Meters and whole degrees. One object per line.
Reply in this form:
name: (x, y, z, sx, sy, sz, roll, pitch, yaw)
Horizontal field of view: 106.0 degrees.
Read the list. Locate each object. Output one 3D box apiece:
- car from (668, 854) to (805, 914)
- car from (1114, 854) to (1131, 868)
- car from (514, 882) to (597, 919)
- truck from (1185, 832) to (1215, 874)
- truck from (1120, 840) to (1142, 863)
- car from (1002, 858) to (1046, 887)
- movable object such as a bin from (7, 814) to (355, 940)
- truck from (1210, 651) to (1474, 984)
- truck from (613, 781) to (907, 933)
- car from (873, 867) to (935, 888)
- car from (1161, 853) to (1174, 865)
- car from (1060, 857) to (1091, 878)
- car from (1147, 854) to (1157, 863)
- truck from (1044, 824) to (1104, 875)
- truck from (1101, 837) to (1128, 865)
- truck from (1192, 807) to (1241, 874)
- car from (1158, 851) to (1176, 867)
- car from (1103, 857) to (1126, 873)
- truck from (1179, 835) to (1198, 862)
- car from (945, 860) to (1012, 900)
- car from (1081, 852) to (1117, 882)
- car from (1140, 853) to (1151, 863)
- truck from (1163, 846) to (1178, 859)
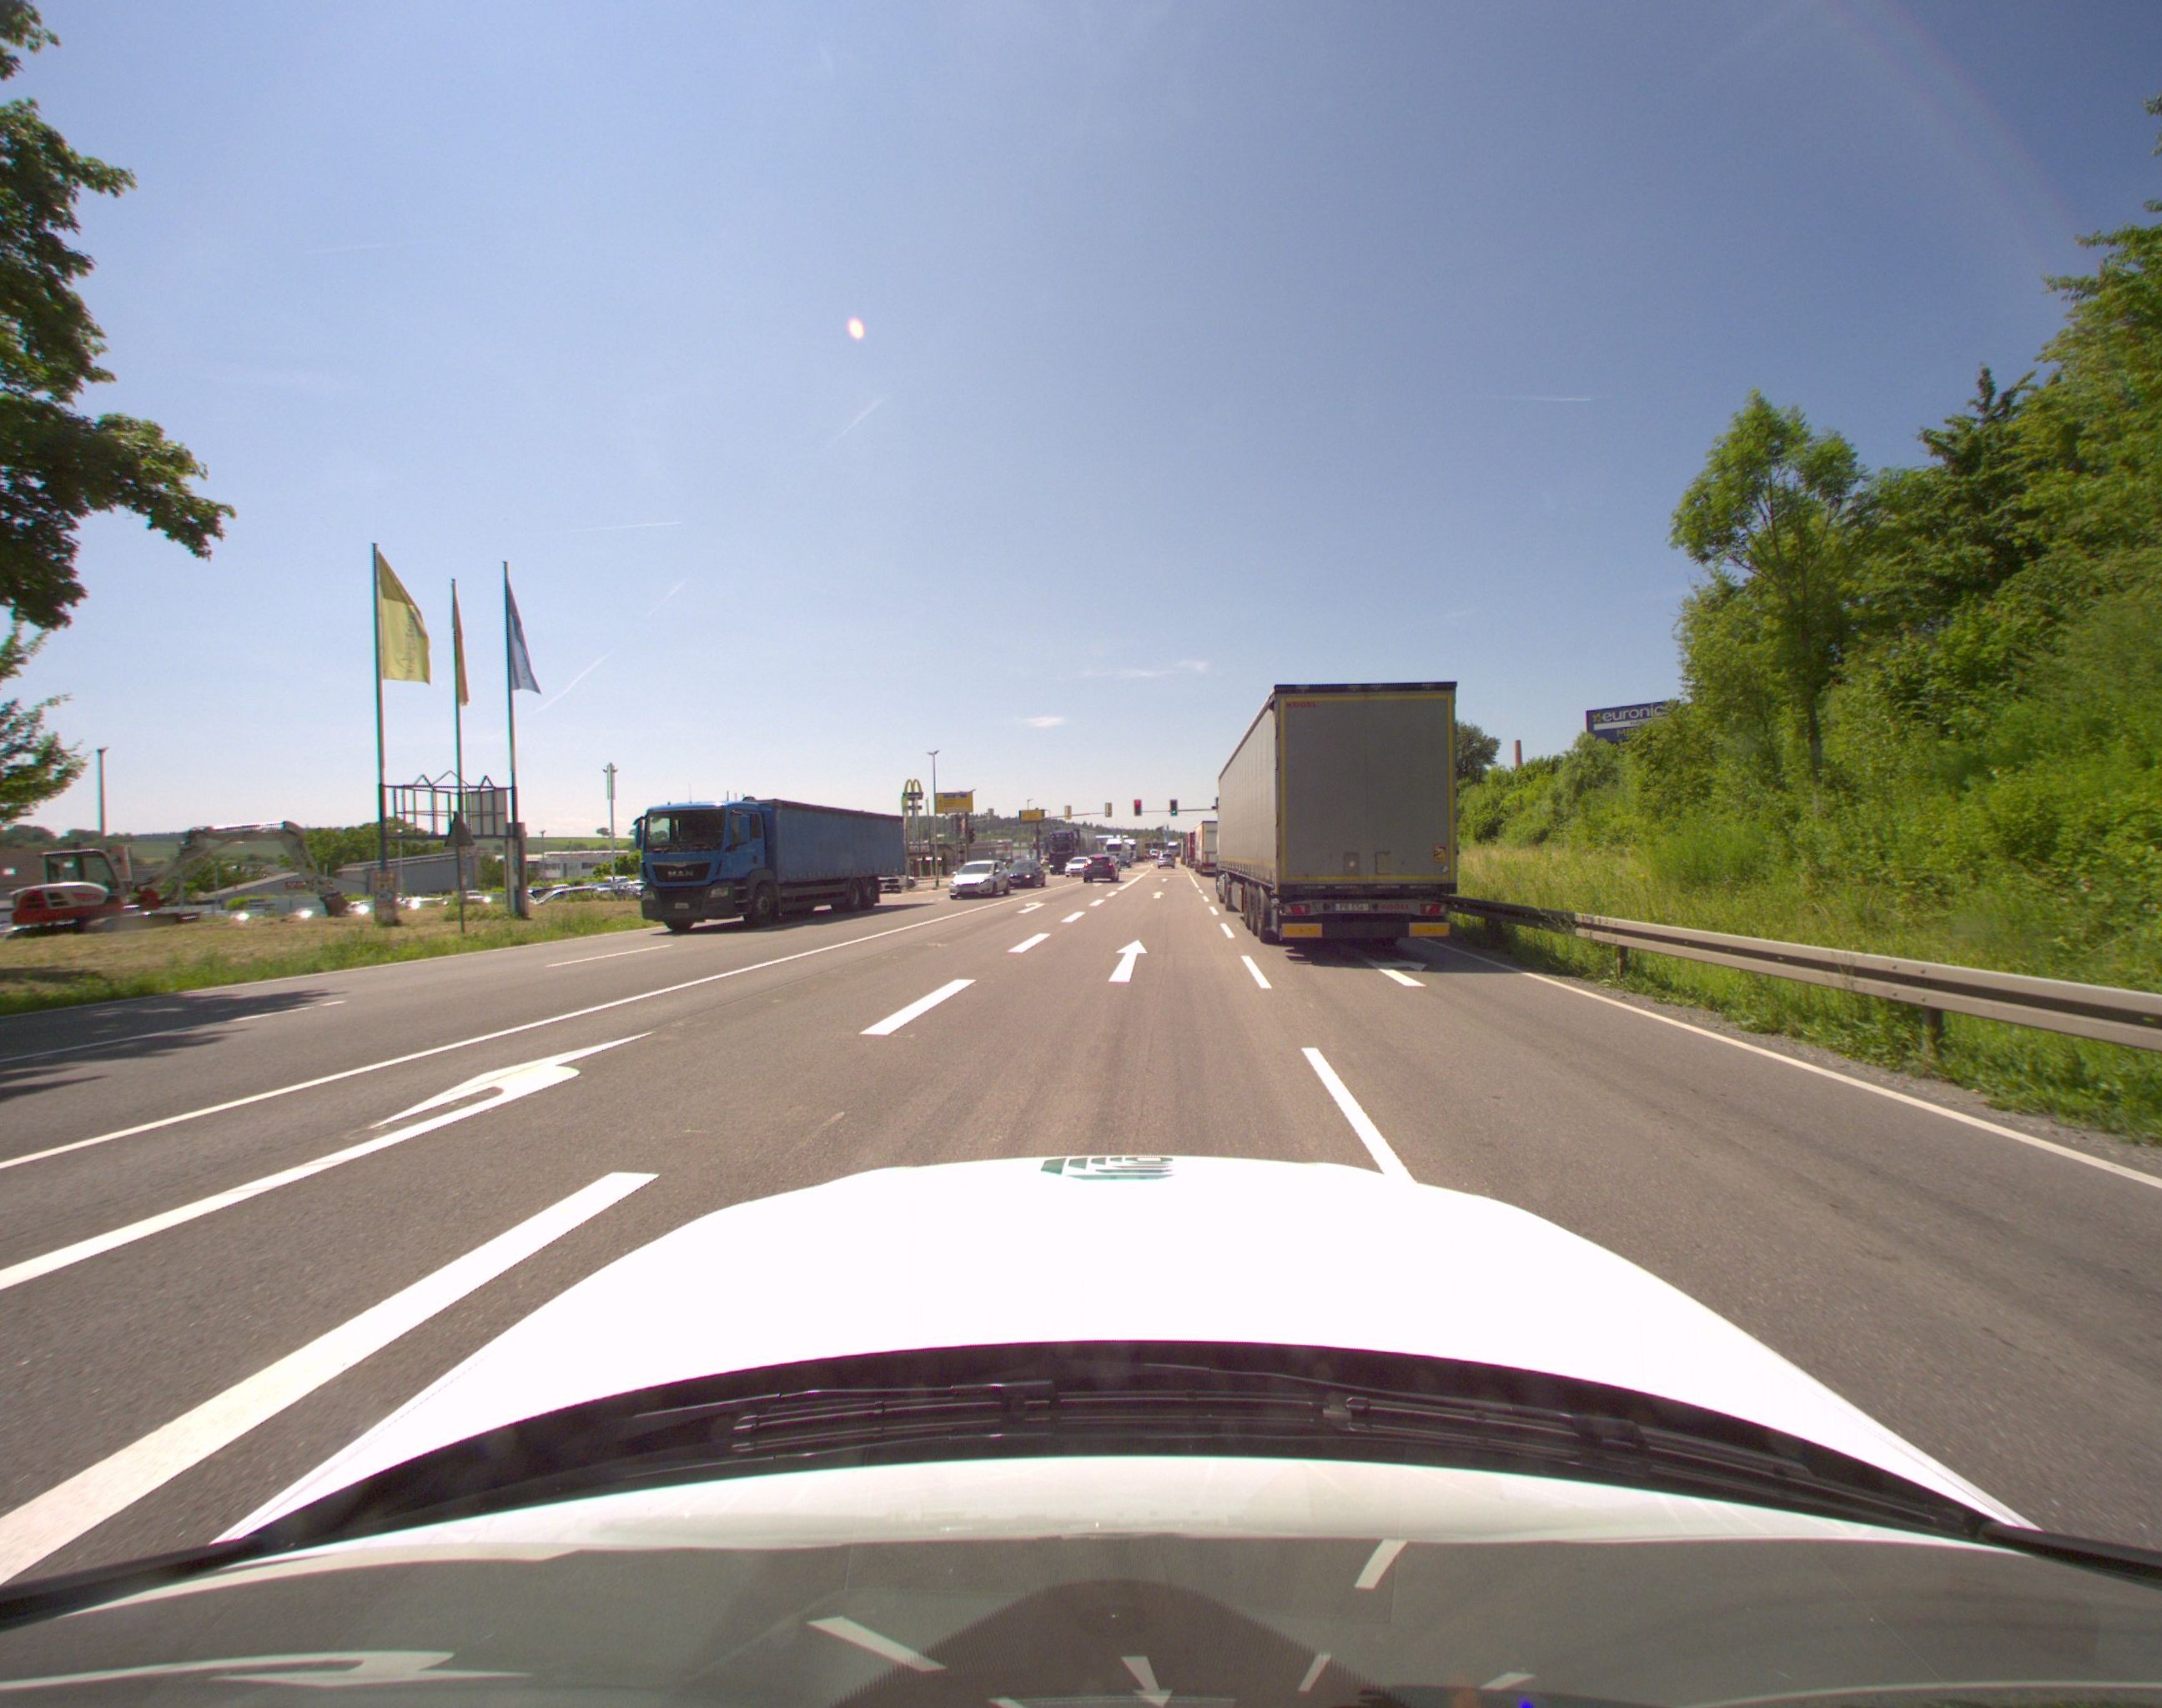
car: (-17.854, 1.526, 42.398, 5.971, 2.487, 2.195, -5, 0, 0)
car: (4.797, 0.826, 93.926, 1.655, 1.508, 3.913, -2, 0, 7)
car: (-32.081, 2.788, 49.761, 4.021, 2.014, 1.976, -1, -2, -41)
truck: (13.795, 0.095, 95.706, 2.860, 4.479, 16.681, 0, -1, 6)
truck: (9.177, -0.475, 148.565, 2.918, 3.950, 13.895, -1, 0, 8)
car: (-2.899, 0.929, 42.173, 1.655, 1.403, 4.021, -1, -1, 4)
movable object such as a bin: (-26.778, 0.588, 24.881, 6.830, 3.298, 3.015, -1, -1, -42)
truck: (4.947, -0.336, 19.719, 2.742, 4.639, 16.681, 0, -1, 6)
truck: (-8.443, 0.142, 23.951, 2.831, 3.351, 11.504, -1, -1, 7)
car: (-12.703, 1.697, 58.520, 4.035, 1.480, 1.768, 1, -2, -41)
car: (15.178, 0.887, 142.736, 1.981, 2.014, 4.011, -2, 0, 9)
car: (-0.356, 1.039, 62.332, 1.731, 1.503, 4.415, -3, -2, 7)
car: (16.337, 1.006, 186.851, 1.893, 2.014, 4.010, 0, -1, 9)
truck: (-0.354, -0.368, 79.915, 3.128, 4.349, 17.581, -2, 0, 8)
truck: (5.258, -0.427, 123.895, 2.919, 3.950, 14.264, -1, 0, 7)
truck: (10.431, -0.748, 64.281, 2.860, 4.639, 16.681, 0, -1, 6)
car: (9.391, 0.579, 88.838, 1.794, 1.670, 4.301, 0, 0, 8)
car: (3.294, 1.052, 78.424, 1.801, 1.508, 4.955, -1, -1, 7)
truck: (15.948, -0.726, 121.607, 2.595, 3.717, 9.465, 0, -1, 6)
car: (-4.077, 1.021, 32.999, 1.781, 1.426, 4.269, -3, -1, 5)
car: (1.096, 0.749, 48.230, 1.785, 1.627, 4.375, -1, -1, 5)
car: (13.548, 0.882, 170.689, 1.981, 2.014, 4.010, 0, -1, 10)
truck: (28.137, -0.411, 255.991, 3.249, 3.950, 13.907, 0, -1, 12)
